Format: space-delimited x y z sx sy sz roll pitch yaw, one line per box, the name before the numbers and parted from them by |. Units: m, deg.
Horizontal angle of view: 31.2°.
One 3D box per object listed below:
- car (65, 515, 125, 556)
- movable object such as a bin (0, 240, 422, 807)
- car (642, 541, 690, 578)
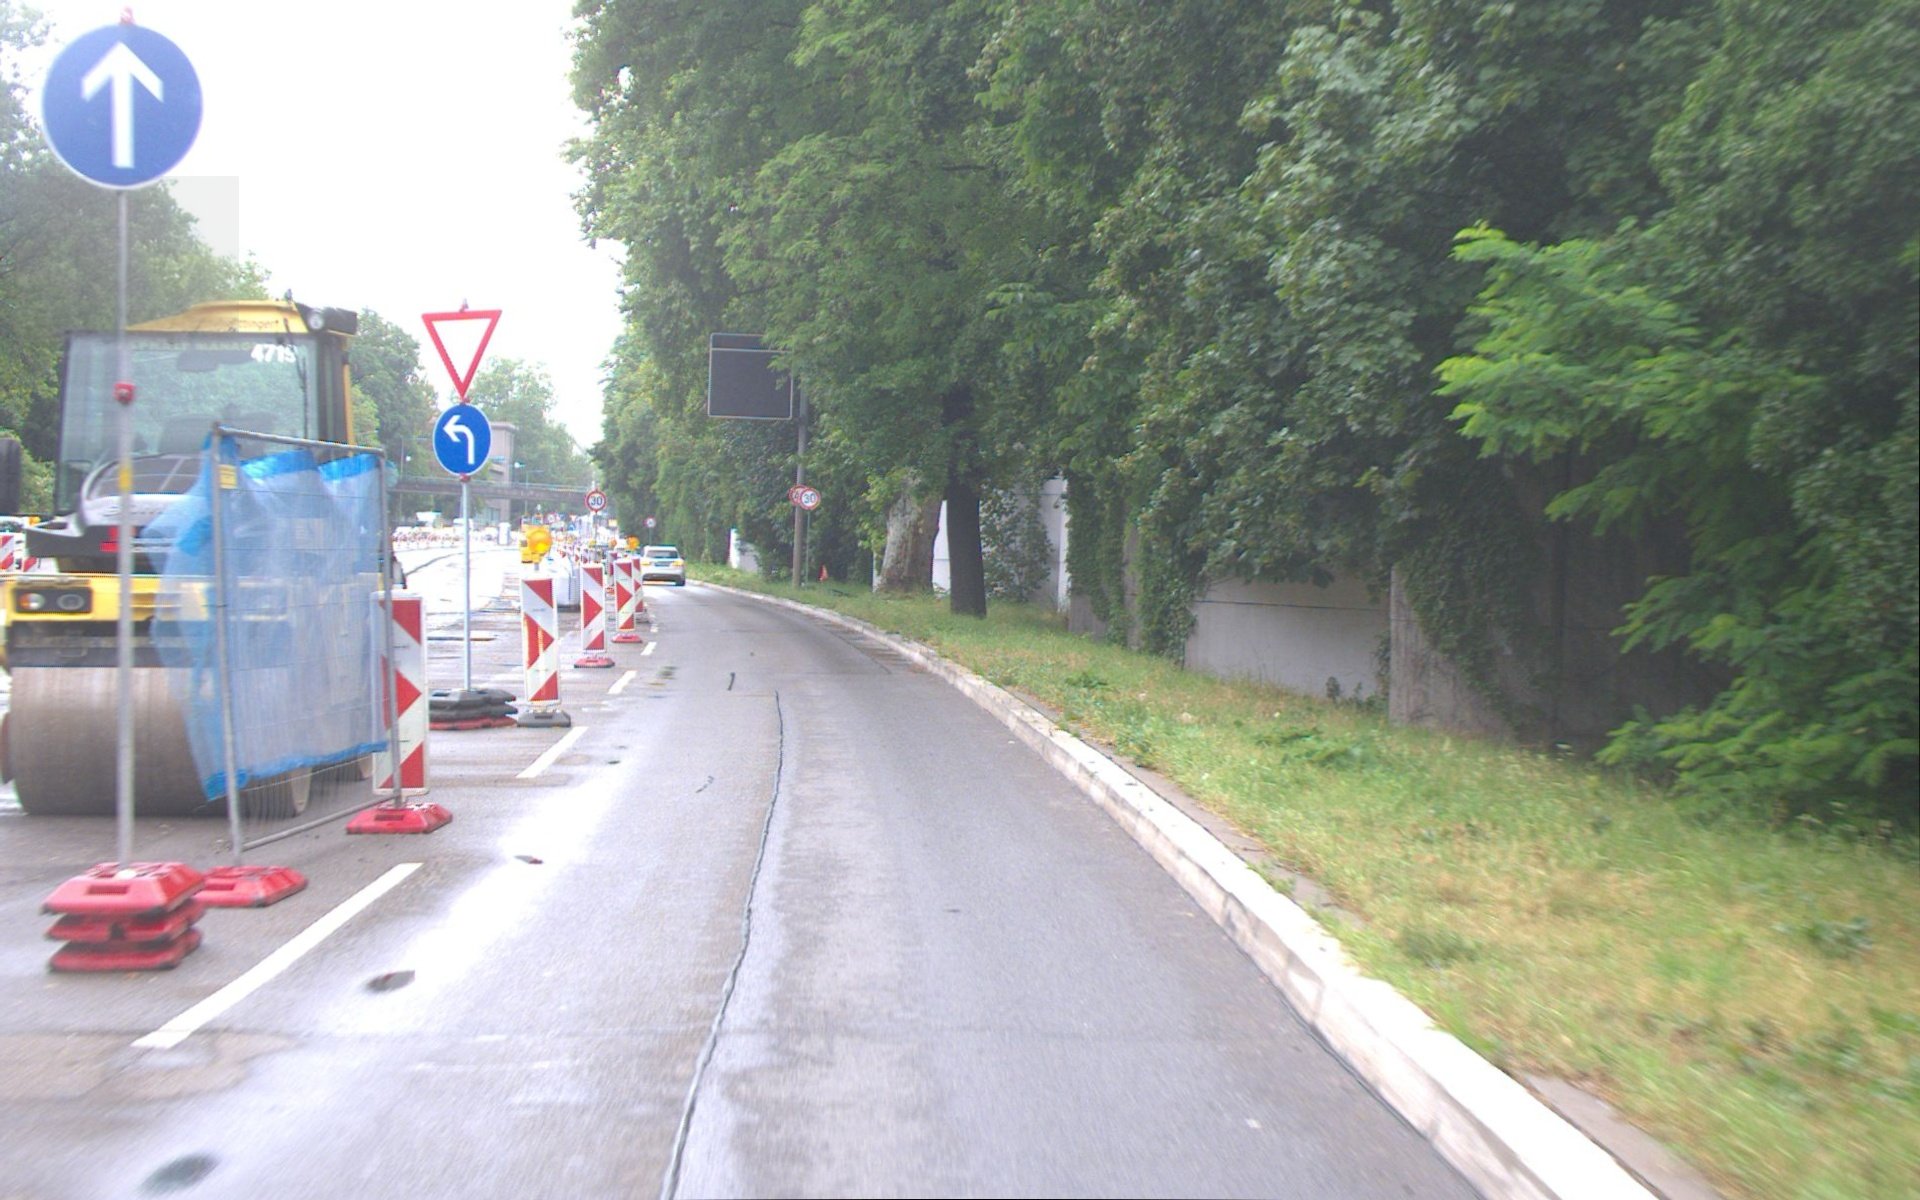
car | -33.777 -2.523 134.350 1.666 1.536 4.158 -1 1 -5
movable object such as a bin | -4.522 -0.445 20.881 1.803 2.975 5.246 1 1 -2
car | -10.988 -1.524 128.158 1.697 1.331 3.492 0 1 -6
